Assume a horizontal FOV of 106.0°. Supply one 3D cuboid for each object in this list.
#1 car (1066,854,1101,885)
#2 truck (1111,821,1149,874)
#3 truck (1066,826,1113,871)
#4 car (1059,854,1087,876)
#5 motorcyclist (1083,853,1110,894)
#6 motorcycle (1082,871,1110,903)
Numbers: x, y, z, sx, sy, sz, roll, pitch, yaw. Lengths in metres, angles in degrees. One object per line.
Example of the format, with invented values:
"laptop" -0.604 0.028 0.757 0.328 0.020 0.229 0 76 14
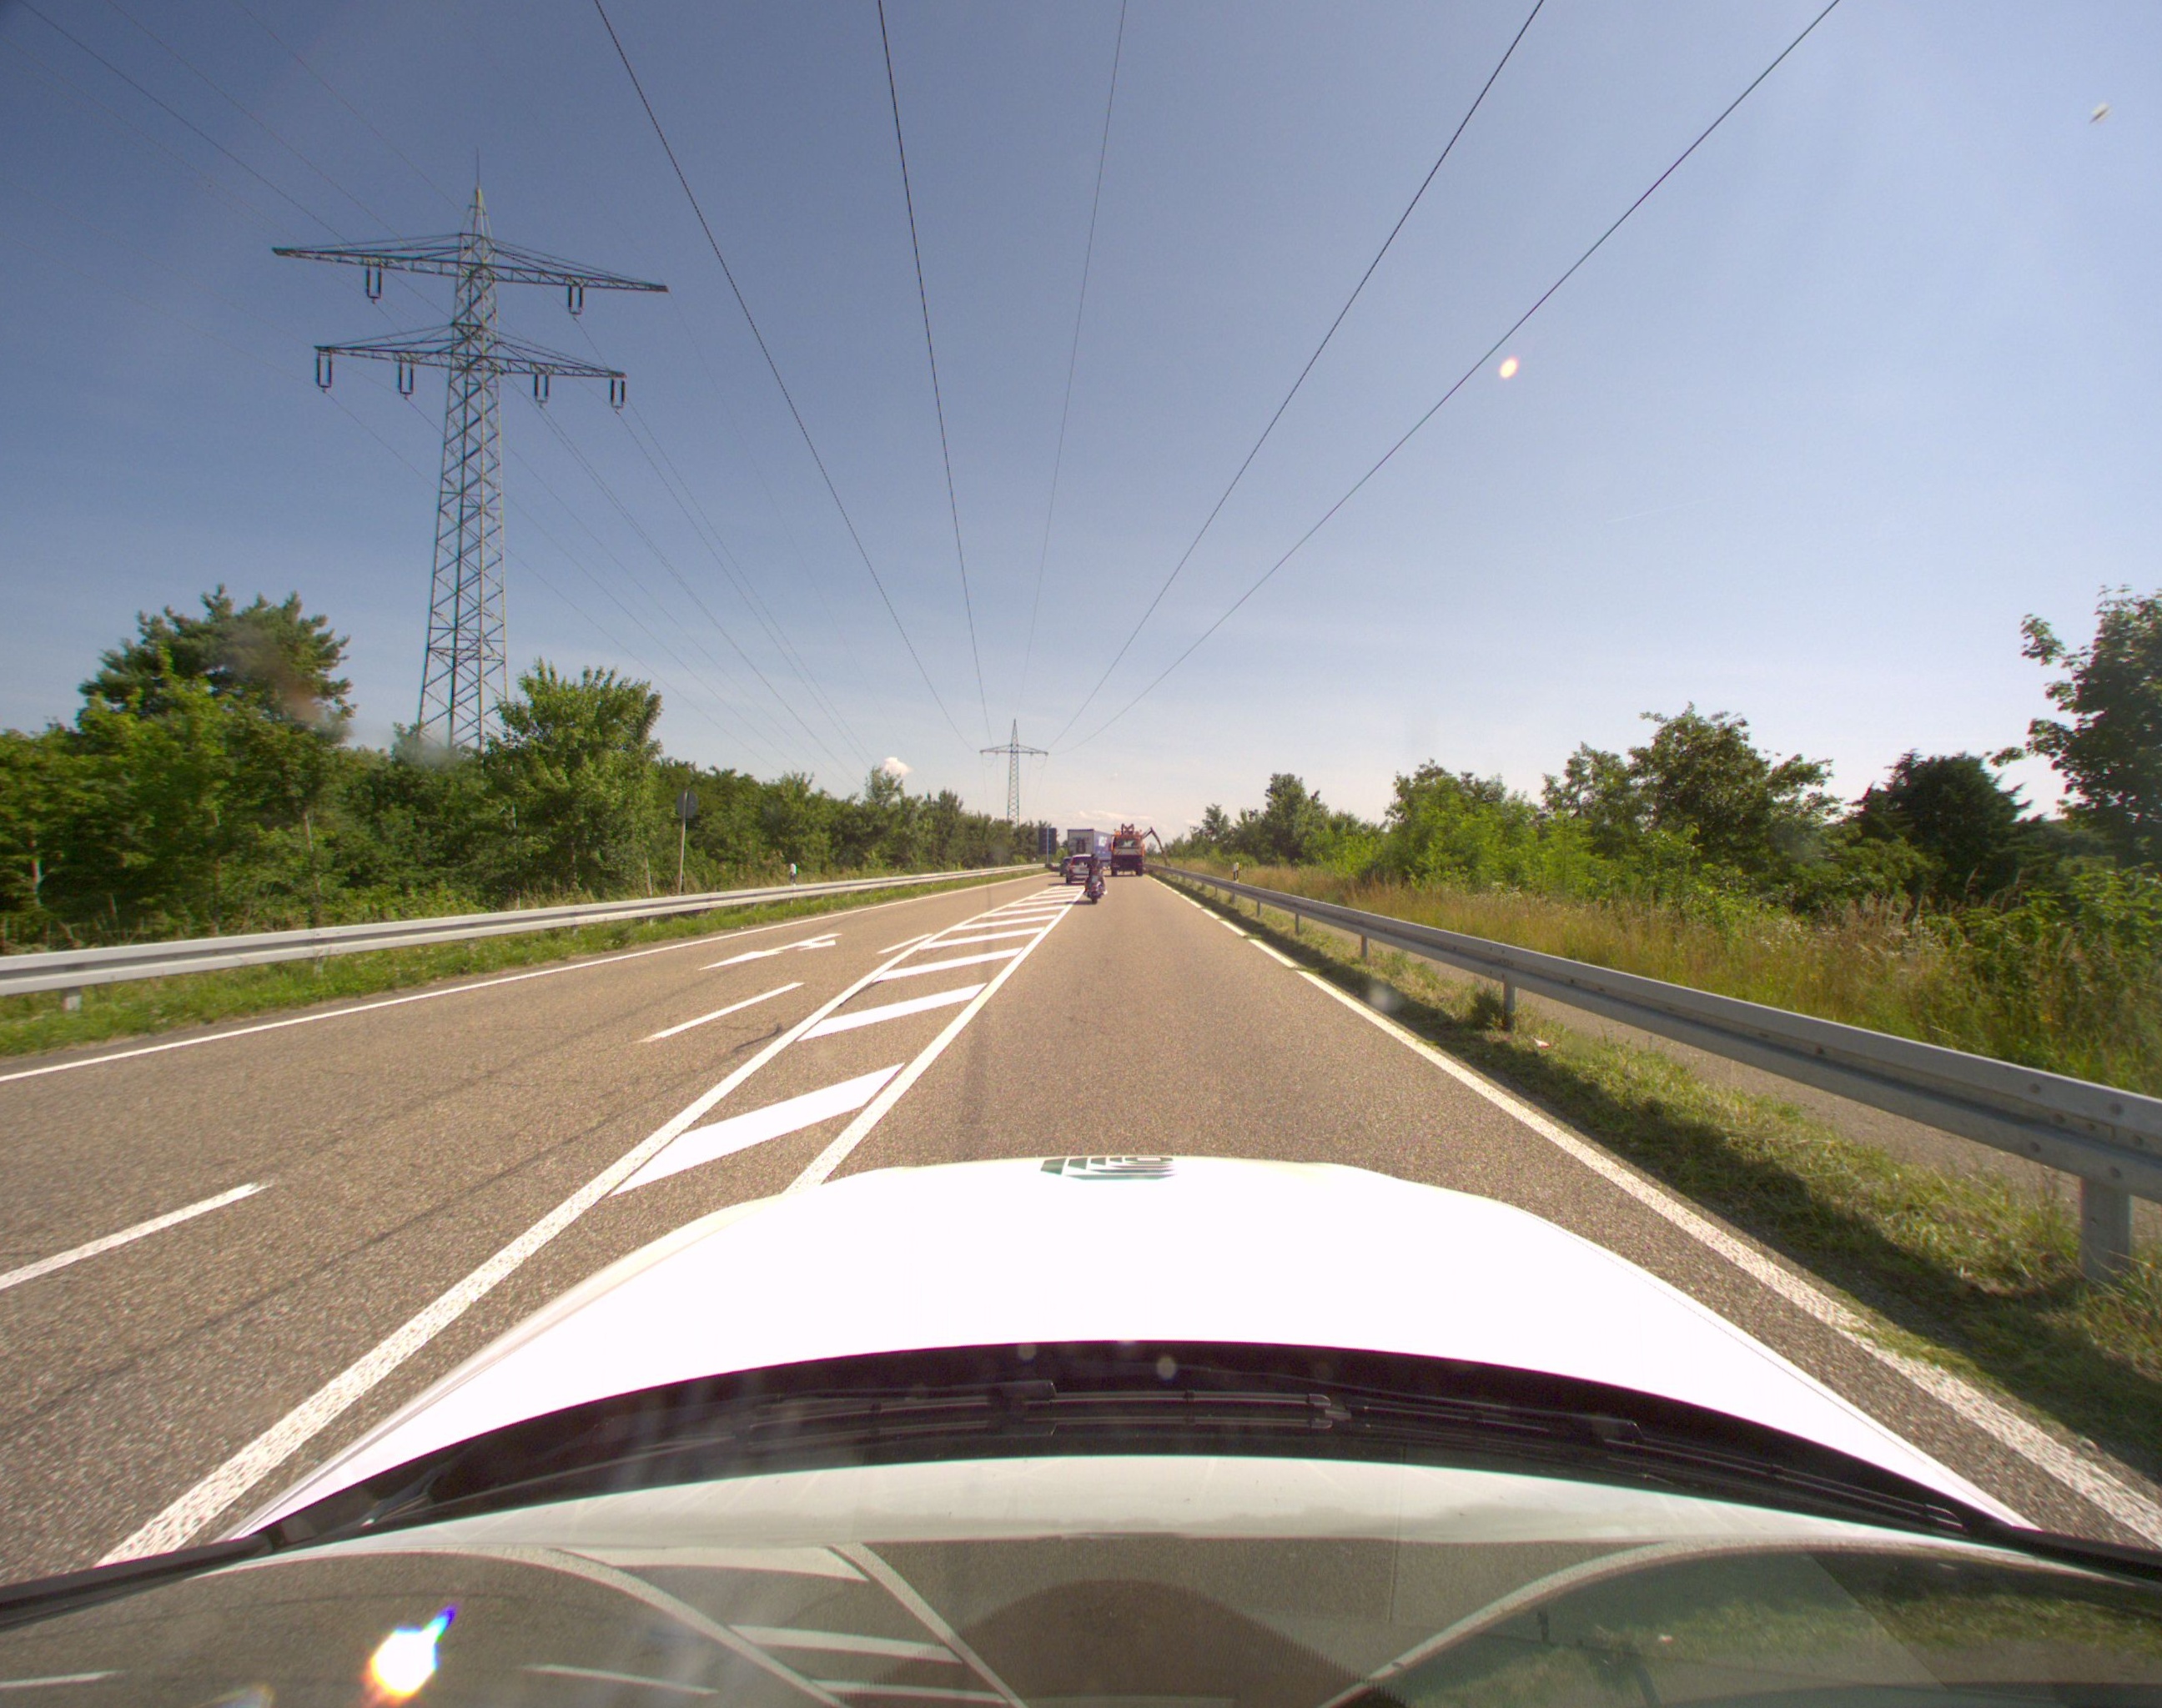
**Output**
"car" 0.091 0.764 42.259 1.696 1.536 3.496 0 0 -2
"truck" 3.590 -0.467 60.355 2.603 3.711 6.783 0 0 3
"truck" 1.090 -0.506 83.724 2.951 4.187 14.855 0 0 8
"car" -0.546 0.769 59.486 1.848 1.489 3.742 0 0 2
"motorcyclist" 0.486 0.614 25.911 0.834 1.280 0.919 0 0 1
"motorcycle" 0.475 1.026 25.768 0.856 0.915 2.228 0 0 1
